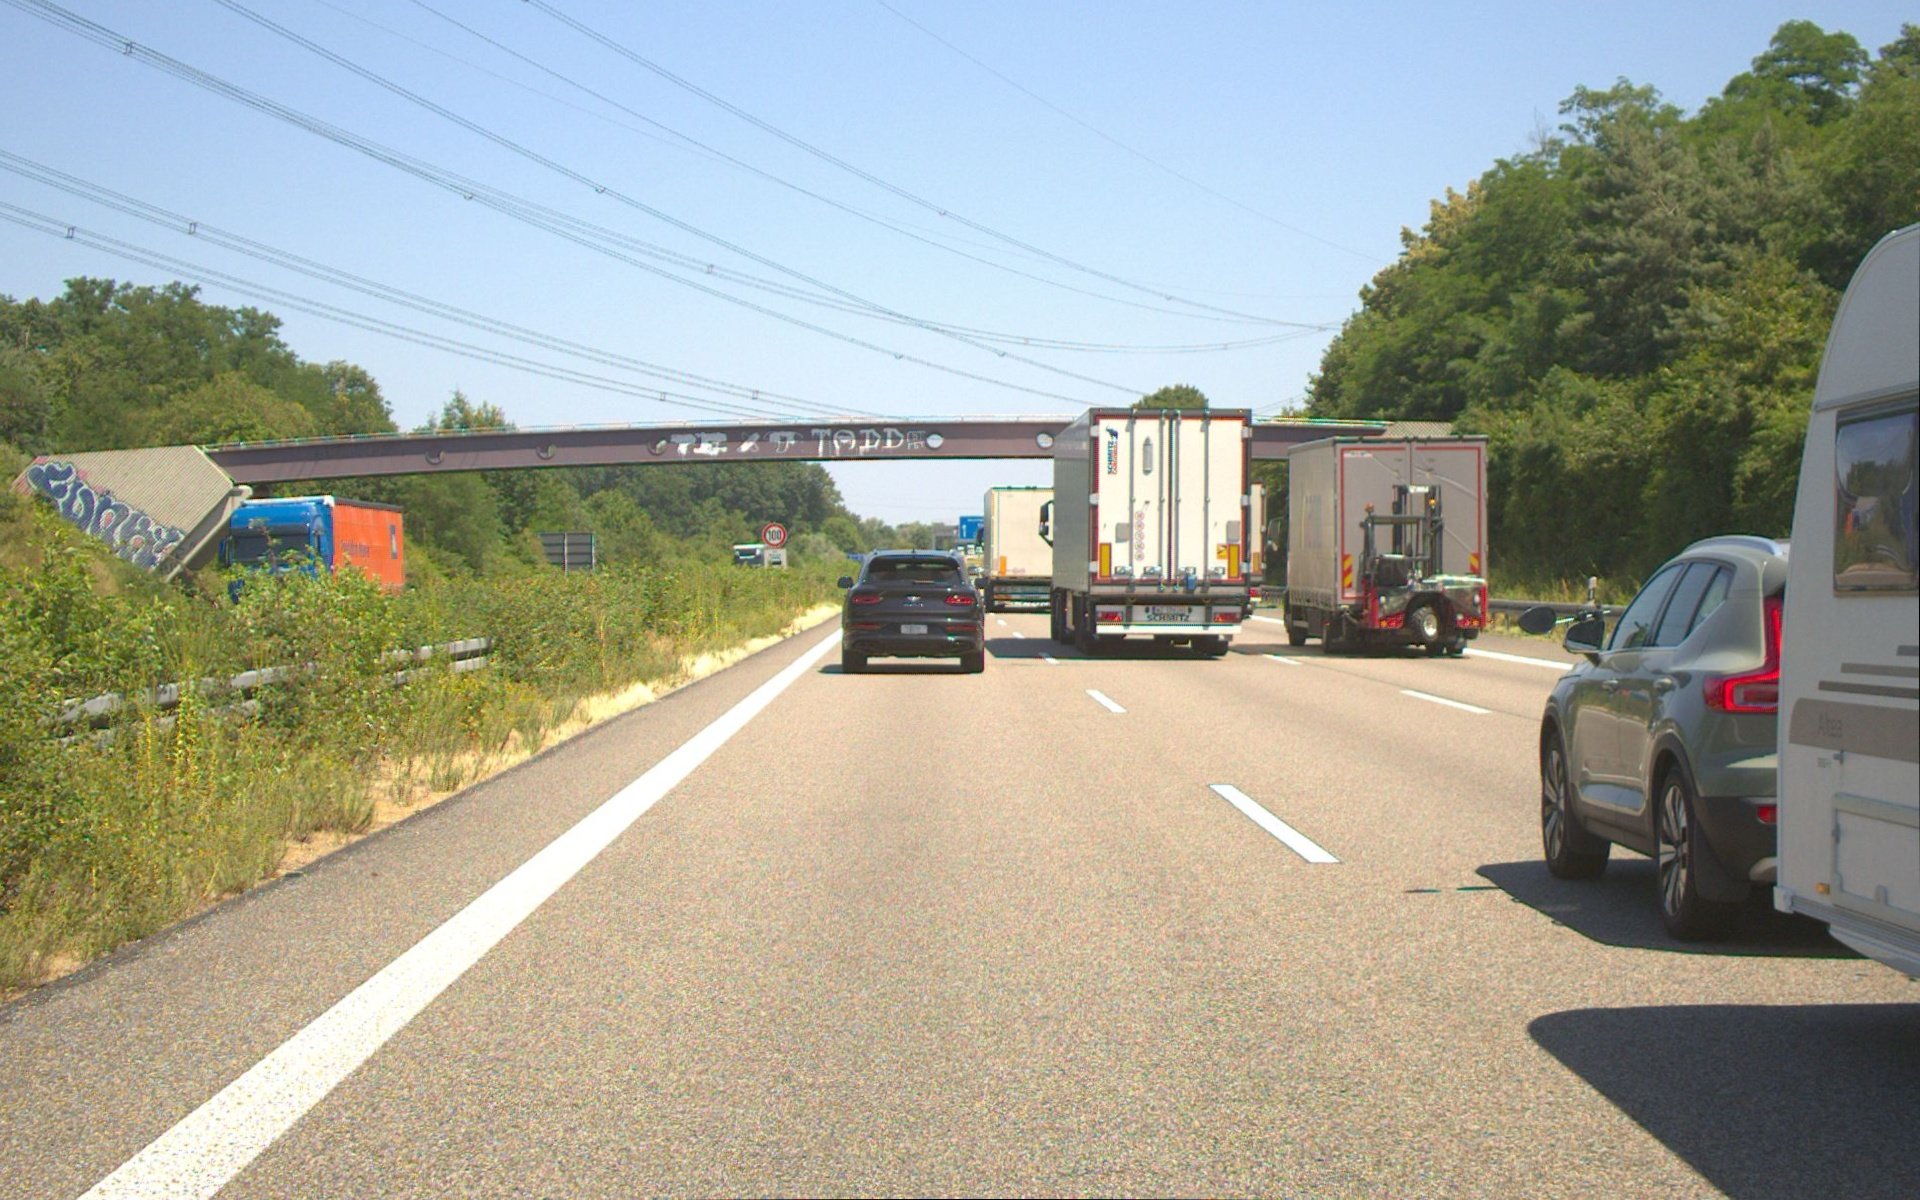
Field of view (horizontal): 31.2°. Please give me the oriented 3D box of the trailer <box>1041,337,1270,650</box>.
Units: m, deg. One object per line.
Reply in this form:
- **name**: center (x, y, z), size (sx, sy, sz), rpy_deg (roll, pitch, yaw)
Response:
- **trailer**: center (3.234, -1.728, 60.446), size (3.087, 4.868, 12.258), rpy_deg (1, 0, -1)

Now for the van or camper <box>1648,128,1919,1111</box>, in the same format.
- **van or camper**: center (3.818, 0.045, 9.481), size (2.439, 2.665, 6.350), rpy_deg (-1, 1, -1)

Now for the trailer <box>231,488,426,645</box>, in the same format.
- **trailer**: center (-19.120, -1.061, 105.242), size (3.343, 4.392, 14.166), rpy_deg (-2, 1, 0)

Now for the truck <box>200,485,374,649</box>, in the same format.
- **truck**: center (-19.051, -0.963, 97.844), size (3.343, 4.392, 7.972), rpy_deg (-2, 1, -1)

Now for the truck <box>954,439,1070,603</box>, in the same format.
- **truck**: center (1.638, -2.567, 113.594), size (3.512, 5.149, 10.259), rpy_deg (1, 1, -1)

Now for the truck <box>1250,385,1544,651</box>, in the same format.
- **truck**: center (7.570, -1.376, 61.542), size (3.571, 4.230, 11.652), rpy_deg (1, 0, -1)

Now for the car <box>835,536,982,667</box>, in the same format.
- **car**: center (-0.761, -0.015, 48.846), size (1.993, 1.766, 4.000), rpy_deg (-1, 1, -2)

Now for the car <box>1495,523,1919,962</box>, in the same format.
- **car**: center (3.699, 0.483, 15.094), size (1.879, 1.607, 4.702), rpy_deg (-2, 1, -1)

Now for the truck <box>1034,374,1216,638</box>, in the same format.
- **truck**: center (3.144, -1.782, 67.474), size (3.087, 4.868, 6.598), rpy_deg (1, 0, -1)
